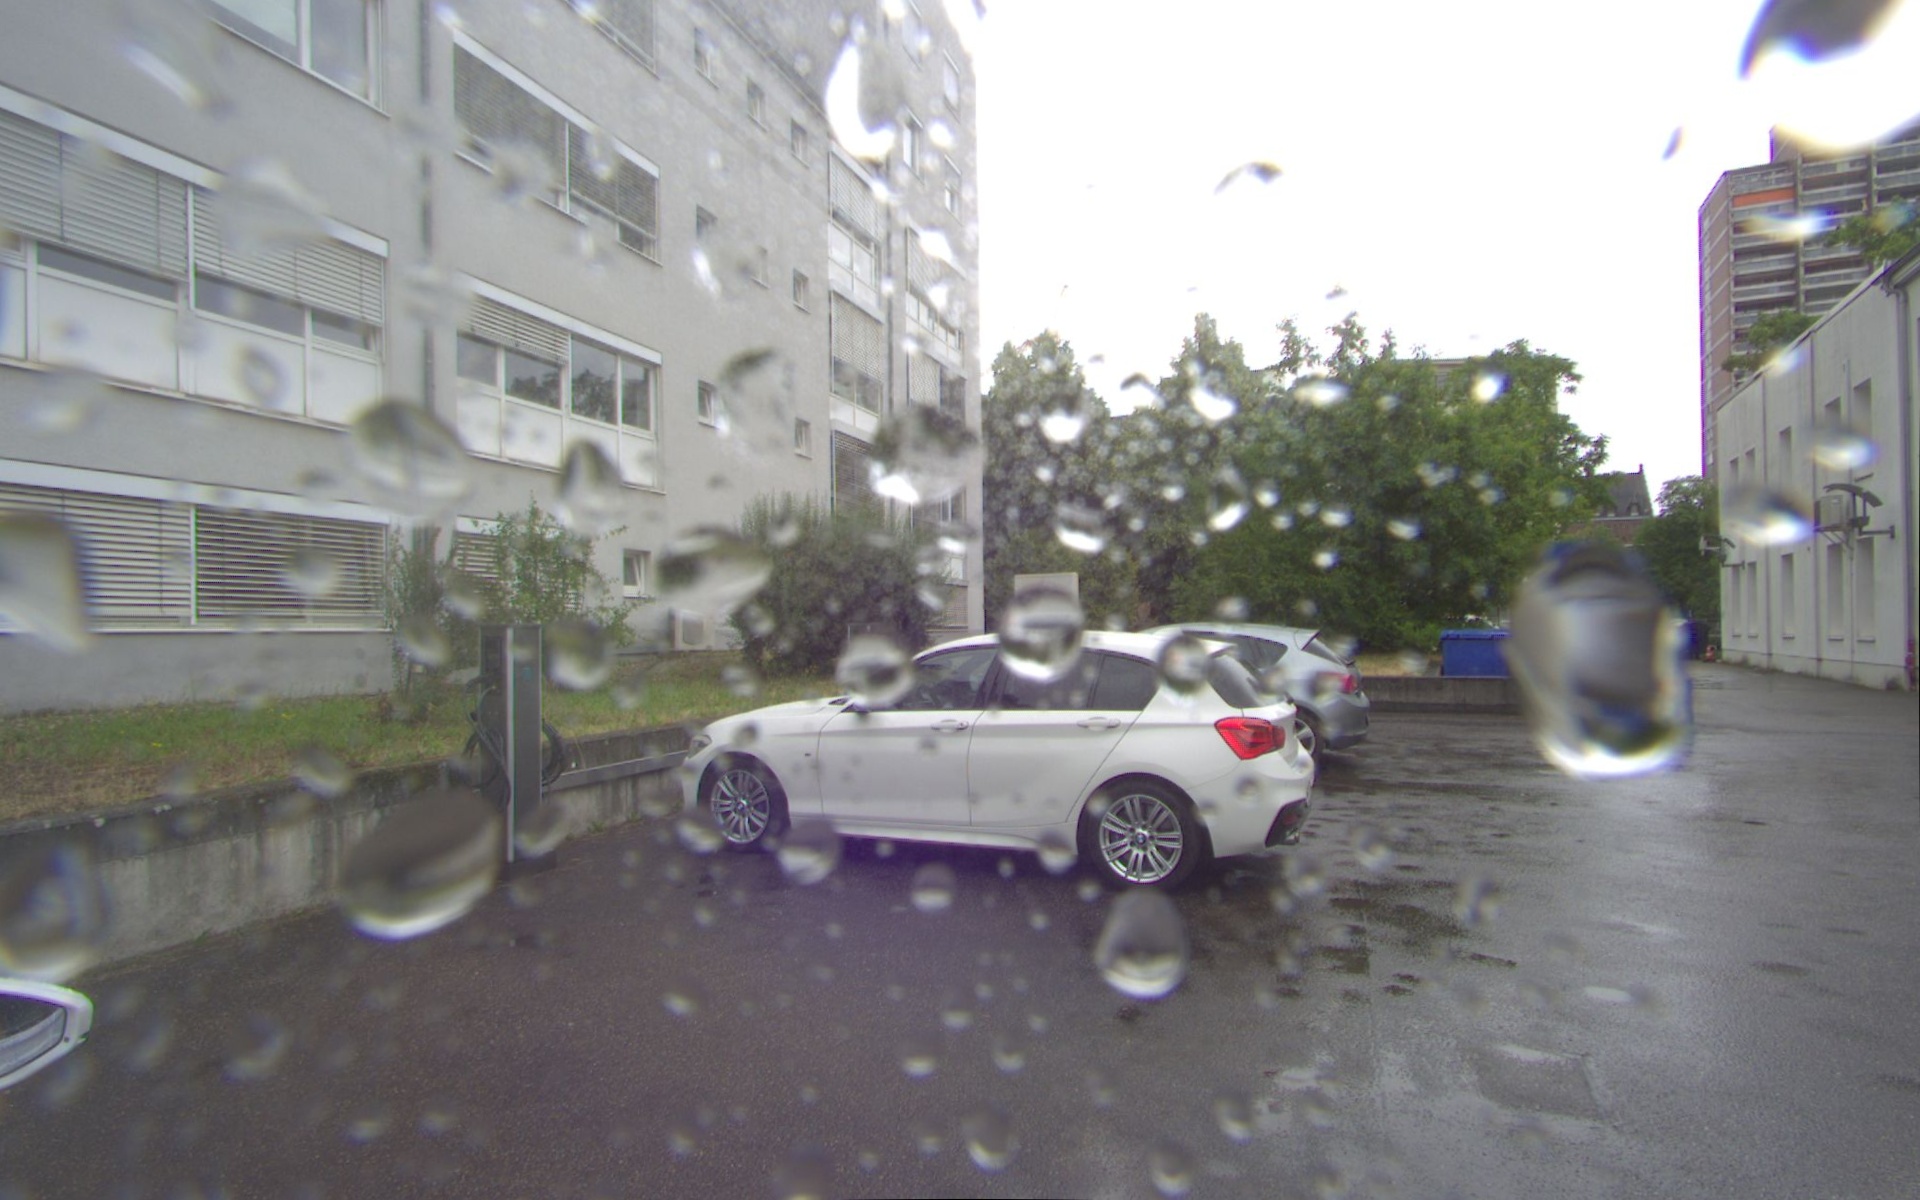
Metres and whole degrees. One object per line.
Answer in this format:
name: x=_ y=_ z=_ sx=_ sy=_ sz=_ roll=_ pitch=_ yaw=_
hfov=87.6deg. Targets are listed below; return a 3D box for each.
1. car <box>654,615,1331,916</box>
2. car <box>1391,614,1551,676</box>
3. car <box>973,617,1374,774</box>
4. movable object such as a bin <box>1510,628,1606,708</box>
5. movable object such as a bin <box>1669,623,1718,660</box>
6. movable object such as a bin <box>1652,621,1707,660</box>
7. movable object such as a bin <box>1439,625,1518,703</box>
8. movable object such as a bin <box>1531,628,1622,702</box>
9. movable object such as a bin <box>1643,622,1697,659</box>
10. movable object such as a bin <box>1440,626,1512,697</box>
car: x=0.249 y=0.914 z=6.771 sx=4.151 sy=1.508 sz=1.995 roll=-1 pitch=-2 yaw=23
car: x=17.238 y=1.574 z=33.920 sx=4.628 sy=1.904 sz=2.116 roll=-3 pitch=-5 yaw=29
car: x=2.439 y=1.000 z=11.349 sx=4.151 sy=1.508 sz=1.995 roll=-1 pitch=-2 yaw=23
movable object such as a bin: x=10.891 y=1.248 z=18.319 sx=1.293 sy=1.374 sz=1.900 roll=-3 pitch=-4 yaw=26
movable object such as a bin: x=28.219 y=1.612 z=38.558 sx=1.168 sy=1.390 sz=1.312 roll=-2 pitch=-4 yaw=22
movable object such as a bin: x=28.764 y=1.640 z=40.063 sx=1.467 sy=1.466 sz=1.312 roll=-2 pitch=-4 yaw=22
movable object such as a bin: x=9.751 y=1.214 z=18.913 sx=1.214 sy=1.374 sz=1.965 roll=-3 pitch=-4 yaw=26
movable object such as a bin: x=12.154 y=1.295 z=19.838 sx=1.293 sy=1.374 sz=1.900 roll=-3 pitch=-4 yaw=26
movable object such as a bin: x=29.268 y=1.690 z=41.311 sx=1.467 sy=1.466 sz=1.312 roll=-2 pitch=-4 yaw=22
movable object such as a bin: x=10.624 y=1.283 z=20.704 sx=1.214 sy=1.374 sz=1.965 roll=-3 pitch=-4 yaw=26
